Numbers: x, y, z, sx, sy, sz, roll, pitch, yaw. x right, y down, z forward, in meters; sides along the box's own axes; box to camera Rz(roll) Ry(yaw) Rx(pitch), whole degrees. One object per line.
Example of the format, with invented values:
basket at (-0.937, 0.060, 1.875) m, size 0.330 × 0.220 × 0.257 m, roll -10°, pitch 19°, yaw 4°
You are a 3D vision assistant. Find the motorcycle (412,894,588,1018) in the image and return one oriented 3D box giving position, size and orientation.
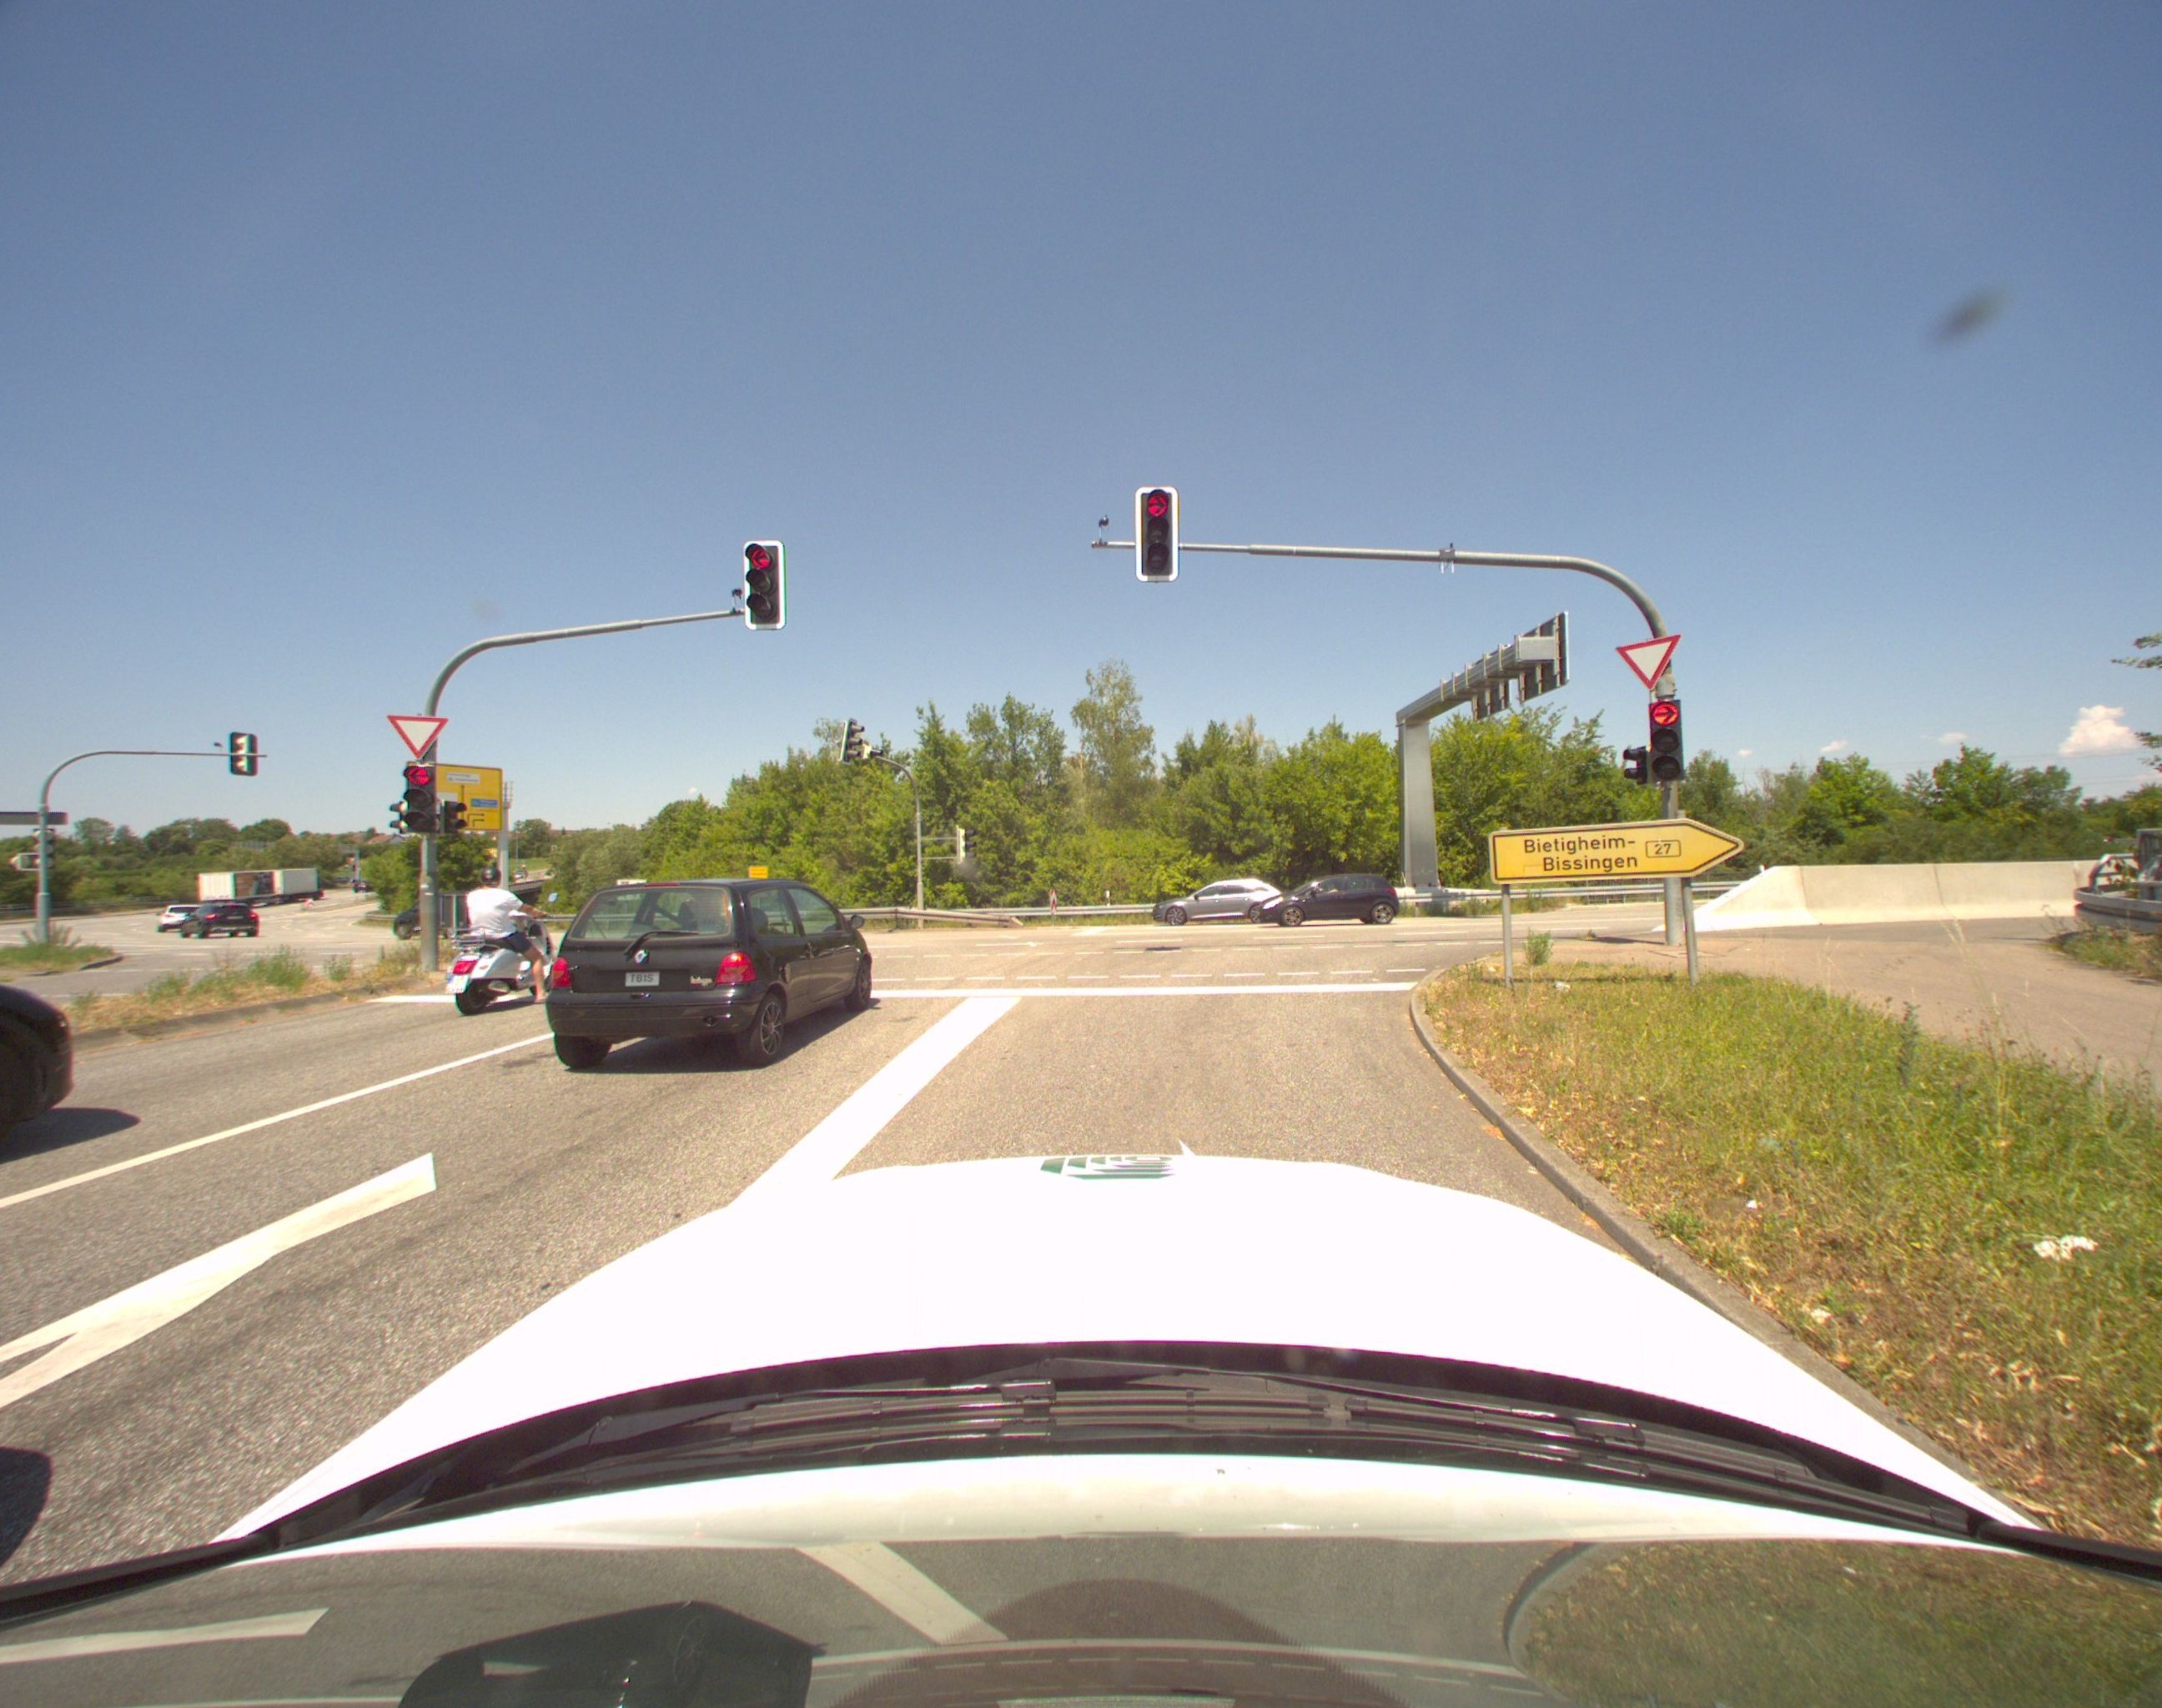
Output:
motorcycle at (-6.611, 1.104, 9.411) m, size 0.574 × 1.238 × 1.941 m, roll -1°, pitch -2°, yaw 2°

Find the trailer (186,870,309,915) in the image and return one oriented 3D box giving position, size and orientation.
trailer at (-91.566, 4.068, 90.083) m, size 3.243 × 4.248 × 15.301 m, roll -1°, pitch 0°, yaw -20°

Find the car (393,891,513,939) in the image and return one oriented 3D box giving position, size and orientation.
car at (-24.091, 2.353, 31.257) m, size 3.951 × 1.733 × 1.895 m, roll -3°, pitch -4°, yaw 23°

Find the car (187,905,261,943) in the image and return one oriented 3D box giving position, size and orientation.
car at (-41.820, 3.371, 39.723) m, size 3.948 × 1.622 × 1.895 m, roll -3°, pitch 0°, yaw 35°

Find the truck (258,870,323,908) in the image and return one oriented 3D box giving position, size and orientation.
truck at (-94.212, 4.143, 97.200) m, size 3.243 × 4.248 × 6.194 m, roll -1°, pitch 0°, yaw -21°

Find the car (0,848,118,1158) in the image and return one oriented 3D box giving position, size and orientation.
car at (-6.532, 0.759, 2.453) m, size 1.869 × 1.601 × 4.505 m, roll -1°, pitch -1°, yaw 0°

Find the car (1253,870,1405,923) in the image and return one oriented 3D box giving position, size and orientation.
car at (7.097, 1.249, 23.610) m, size 3.897 × 1.434 × 1.813 m, roll -1°, pitch -4°, yaw 4°

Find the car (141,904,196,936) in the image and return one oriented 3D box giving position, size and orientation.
car at (-55.701, 3.969, 49.707) m, size 3.948 × 1.665 × 1.947 m, roll -1°, pitch 0°, yaw 37°

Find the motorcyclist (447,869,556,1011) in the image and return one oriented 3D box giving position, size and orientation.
motorcyclist at (-6.626, 0.957, 9.357) m, size 0.609 × 1.540 × 0.847 m, roll -1°, pitch -2°, yaw 2°

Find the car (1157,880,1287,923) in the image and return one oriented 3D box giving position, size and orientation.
car at (4.958, 1.689, 28.692) m, size 4.371 × 1.434 × 1.816 m, roll -1°, pitch -4°, yaw 11°

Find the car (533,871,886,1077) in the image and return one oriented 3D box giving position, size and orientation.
car at (-3.048, 0.888, 7.449) m, size 1.613 × 1.407 × 3.302 m, roll -1°, pitch -1°, yaw 2°
